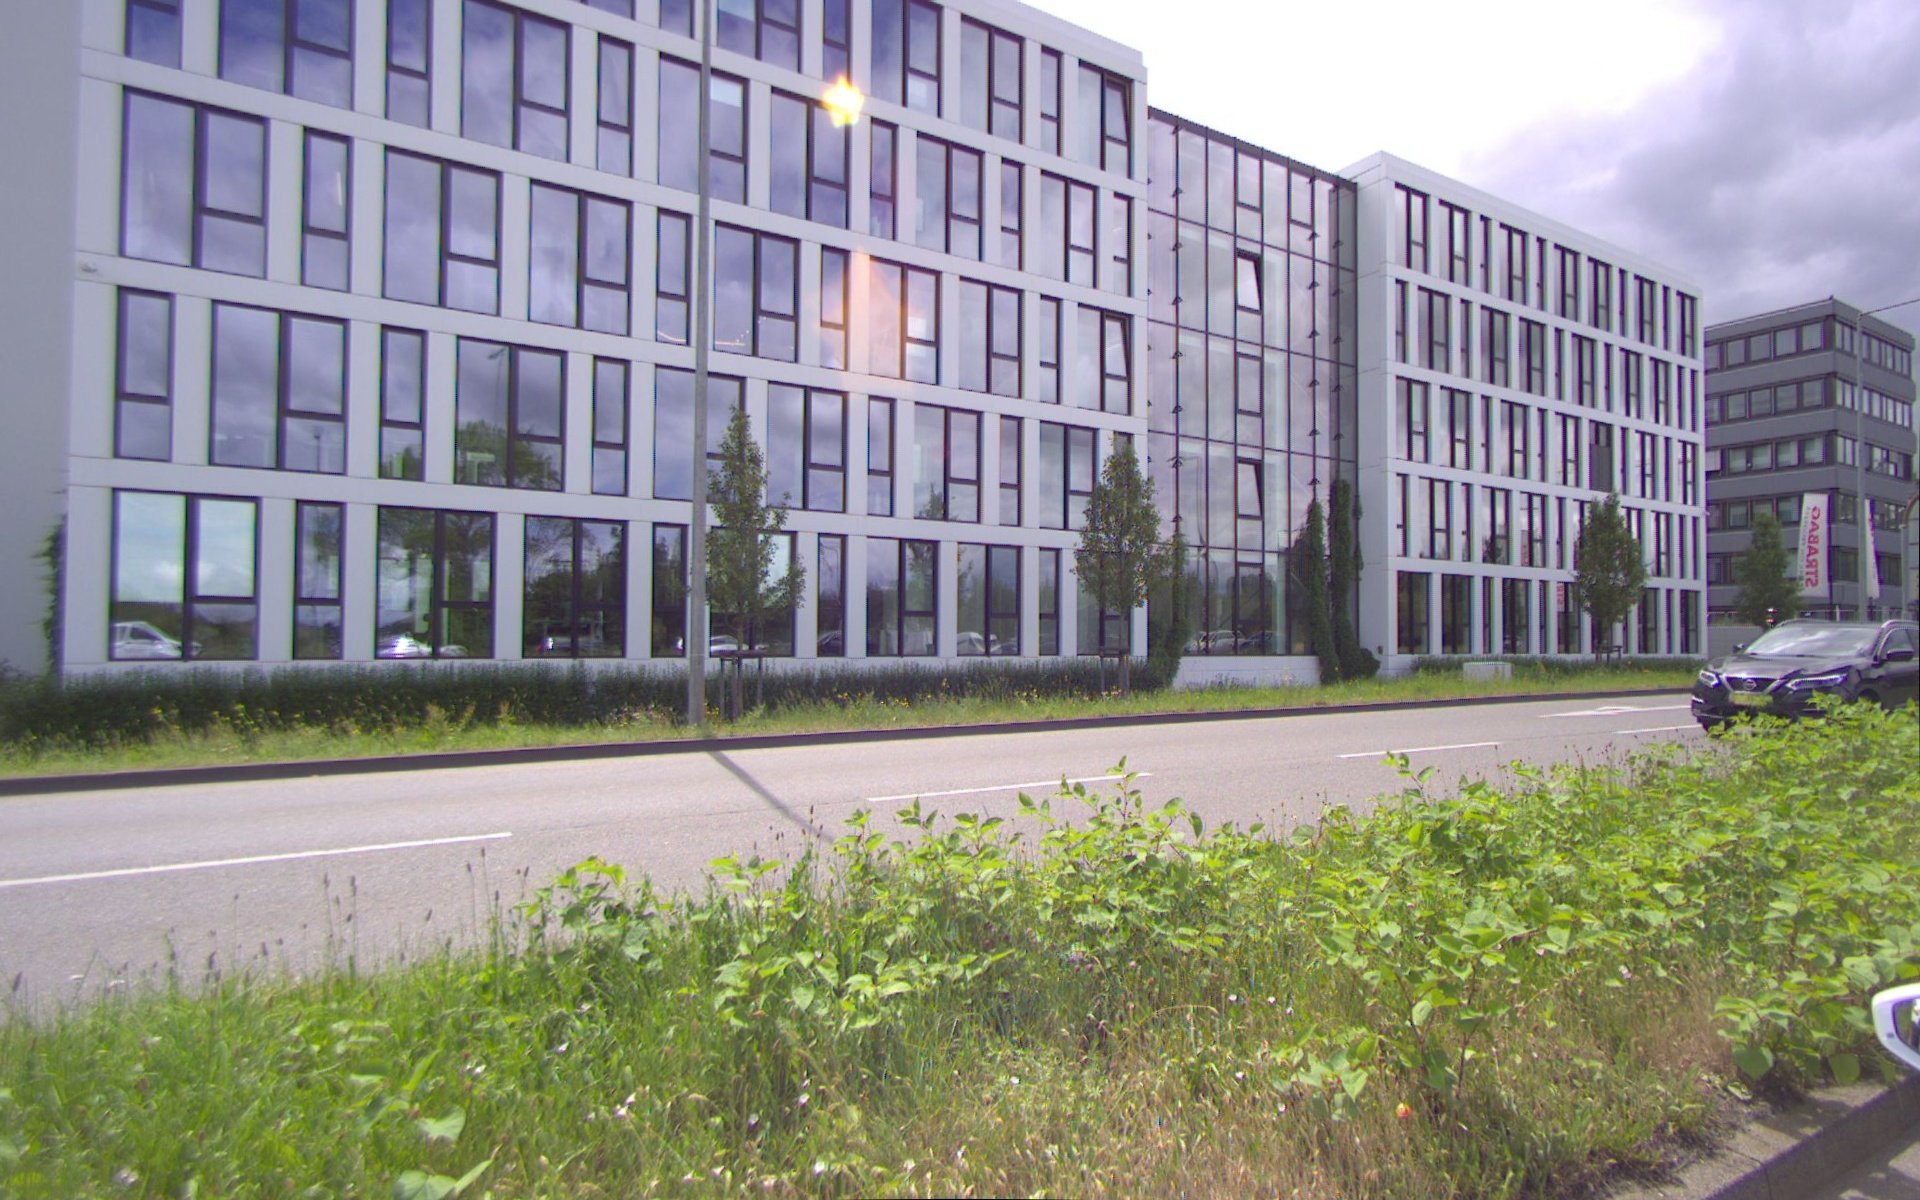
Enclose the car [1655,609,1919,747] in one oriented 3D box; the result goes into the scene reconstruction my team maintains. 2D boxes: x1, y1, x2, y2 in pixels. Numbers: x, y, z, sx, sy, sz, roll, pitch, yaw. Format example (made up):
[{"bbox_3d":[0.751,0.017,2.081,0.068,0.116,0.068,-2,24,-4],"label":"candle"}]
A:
[{"bbox_3d":[11.842,0.991,13.770,4.261,1.637,1.987,1,-2,-26],"label":"car"}]
